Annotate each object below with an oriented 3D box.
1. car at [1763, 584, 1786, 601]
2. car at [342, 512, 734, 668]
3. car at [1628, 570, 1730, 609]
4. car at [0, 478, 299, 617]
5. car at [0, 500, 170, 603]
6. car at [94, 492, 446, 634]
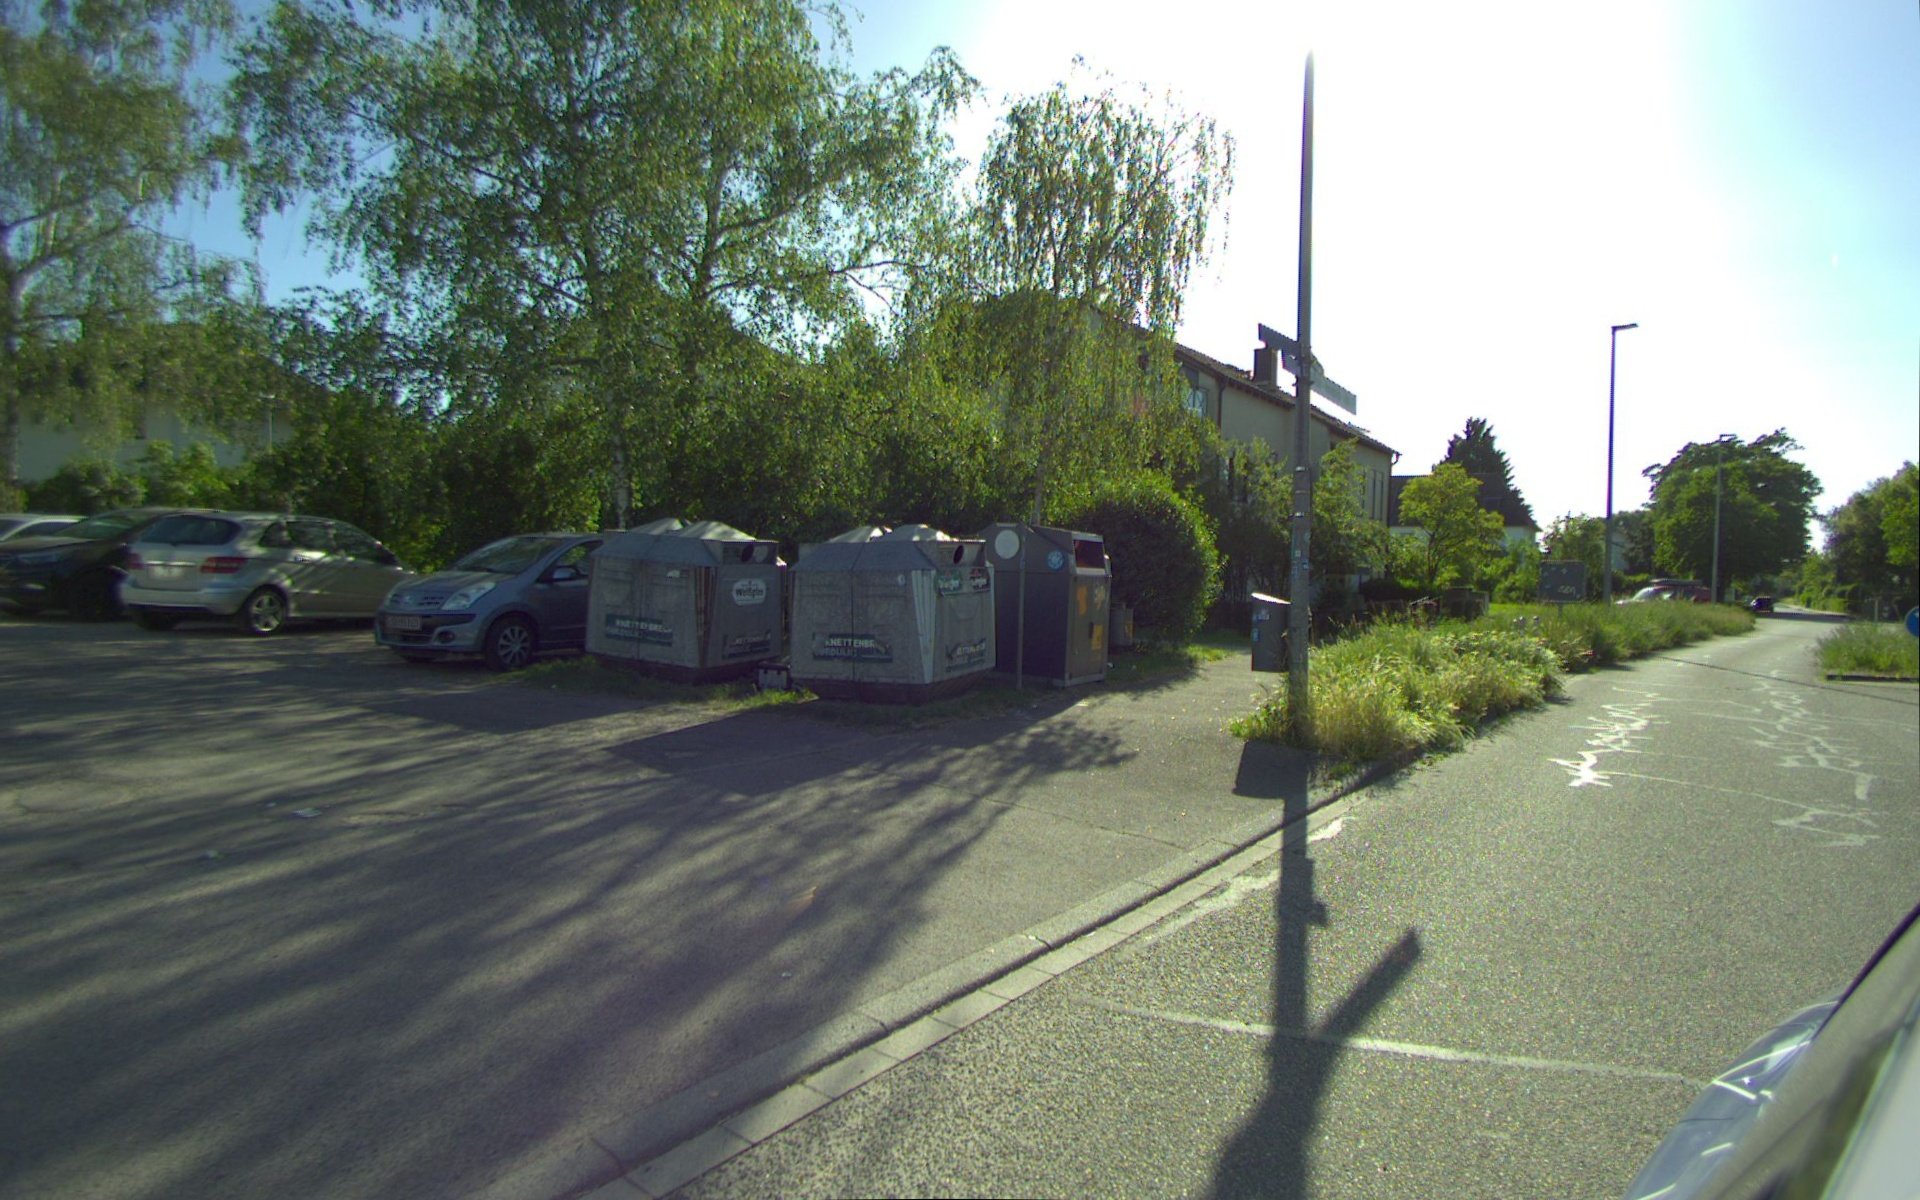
[{"bbox_3d":[94.286,-0.849,117.182,1.991,1.838,3.944,3,3,39],"label":"car"},{"bbox_3d":[-4.575,-0.124,11.616,1.620,1.456,4.025,3,1,28],"label":"car"},{"bbox_3d":[34.821,-0.516,49.067,3.584,1.738,1.748,1,2,3],"label":"car"},{"bbox_3d":[-12.212,-0.745,14.957,1.762,1.727,4.107,4,2,9],"label":"car"},{"bbox_3d":[-14.856,-0.777,15.601,1.762,1.518,4.107,4,2,9],"label":"car"},{"bbox_3d":[-9.439,-0.502,14.308,1.762,1.623,4.055,4,2,10],"label":"car"}]
